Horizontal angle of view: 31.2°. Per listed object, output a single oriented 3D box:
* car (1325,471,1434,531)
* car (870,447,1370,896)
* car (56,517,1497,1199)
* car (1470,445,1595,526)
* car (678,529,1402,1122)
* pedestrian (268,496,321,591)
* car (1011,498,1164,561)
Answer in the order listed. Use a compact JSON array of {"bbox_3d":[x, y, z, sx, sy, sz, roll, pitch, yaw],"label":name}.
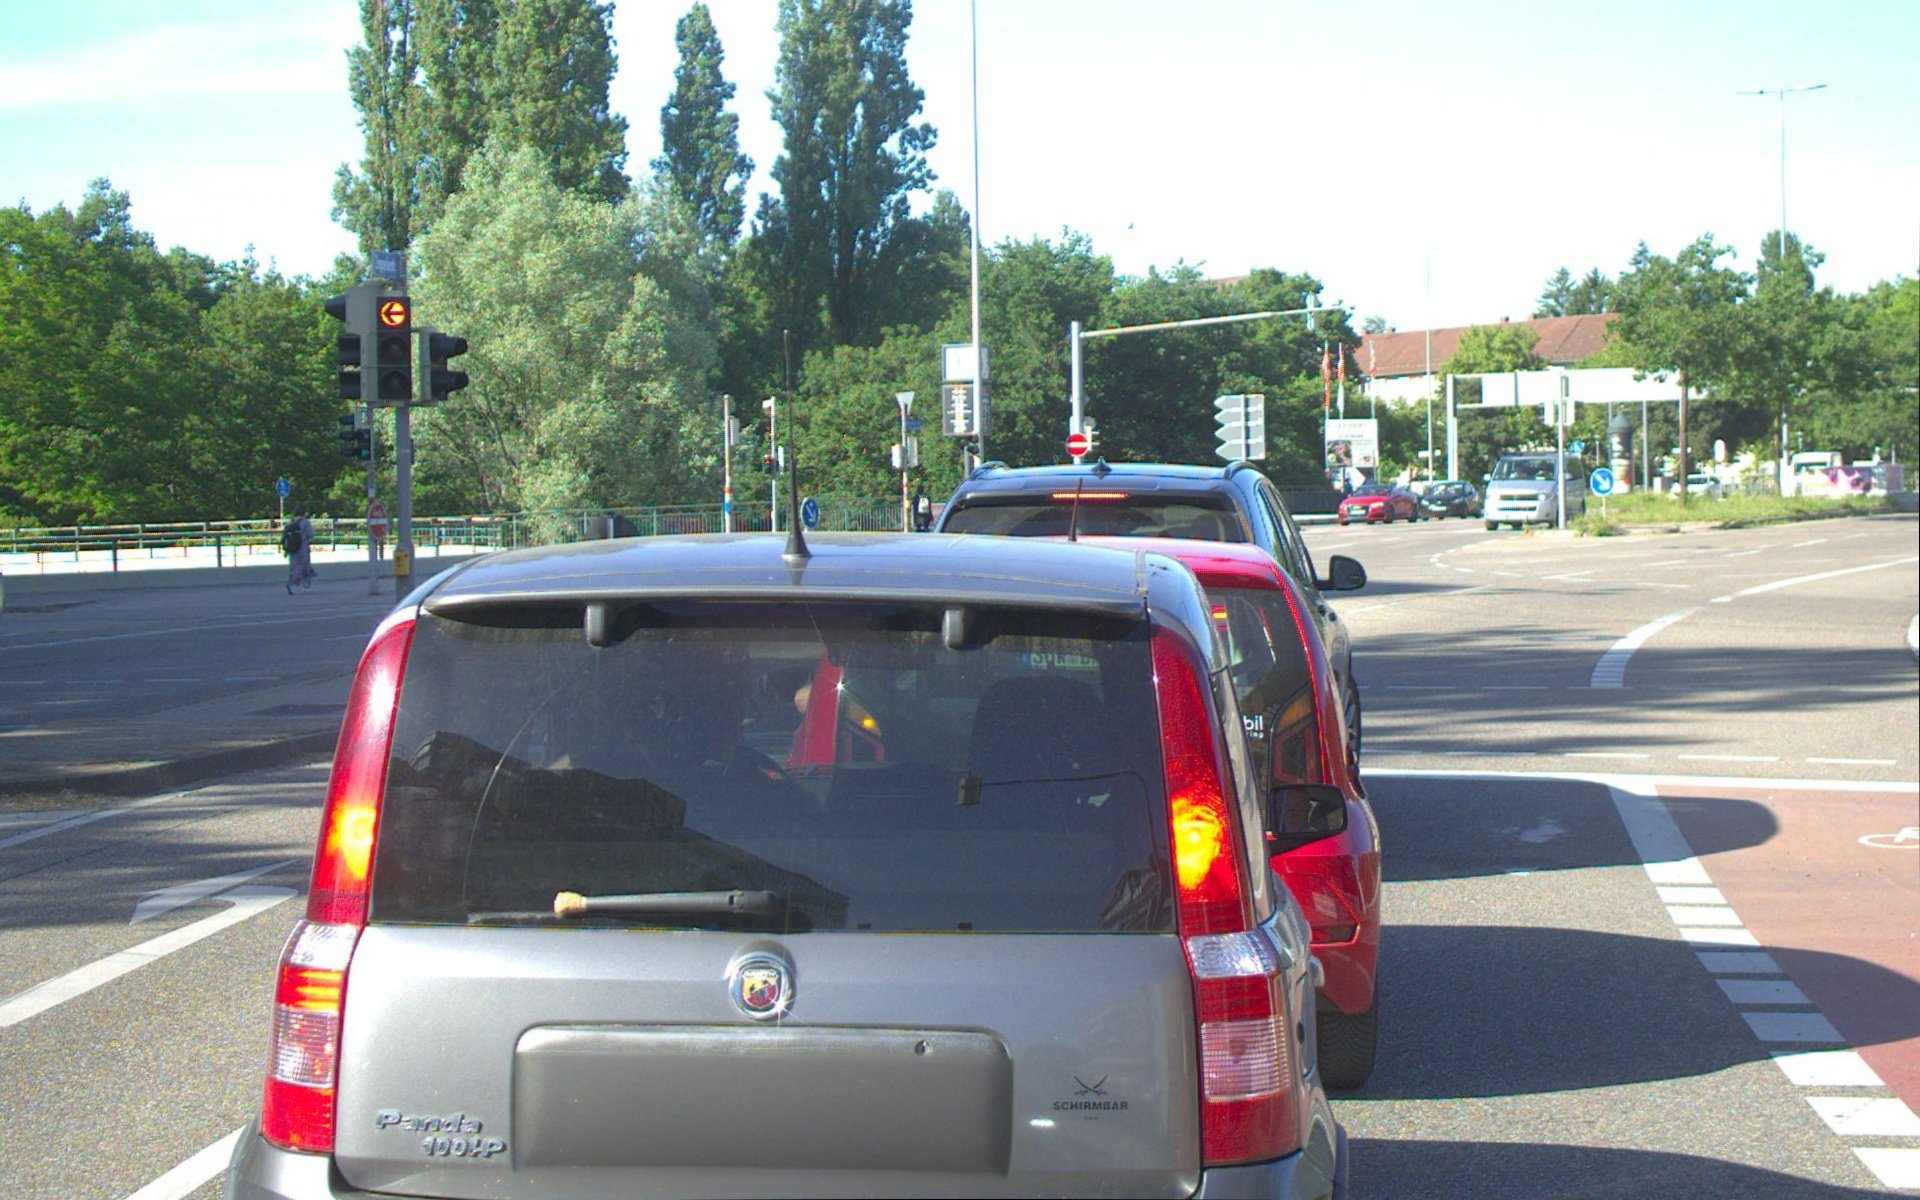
[{"bbox_3d":[14.427,-3.386,118.090,2.016,1.848,4.878,0,-1,29],"label":"car"},{"bbox_3d":[0.896,0.210,16.106,1.869,1.784,4.413,1,2,9],"label":"car"},{"bbox_3d":[-0.145,0.622,6.375,1.820,1.484,4.000,2,2,3],"label":"car"},{"bbox_3d":[14.729,-2.909,88.222,2.015,1.848,4.880,0,-1,24],"label":"car"},{"bbox_3d":[0.279,0.530,10.731,1.820,1.474,4.000,1,1,2],"label":"car"},{"bbox_3d":[-11.354,-0.953,58.667,0.686,1.533,1.366,0,-3,-3],"label":"pedestrian"},{"bbox_3d":[4.011,-2.195,107.875,4.416,1.848,2.019,0,-1,-31],"label":"car"}]
